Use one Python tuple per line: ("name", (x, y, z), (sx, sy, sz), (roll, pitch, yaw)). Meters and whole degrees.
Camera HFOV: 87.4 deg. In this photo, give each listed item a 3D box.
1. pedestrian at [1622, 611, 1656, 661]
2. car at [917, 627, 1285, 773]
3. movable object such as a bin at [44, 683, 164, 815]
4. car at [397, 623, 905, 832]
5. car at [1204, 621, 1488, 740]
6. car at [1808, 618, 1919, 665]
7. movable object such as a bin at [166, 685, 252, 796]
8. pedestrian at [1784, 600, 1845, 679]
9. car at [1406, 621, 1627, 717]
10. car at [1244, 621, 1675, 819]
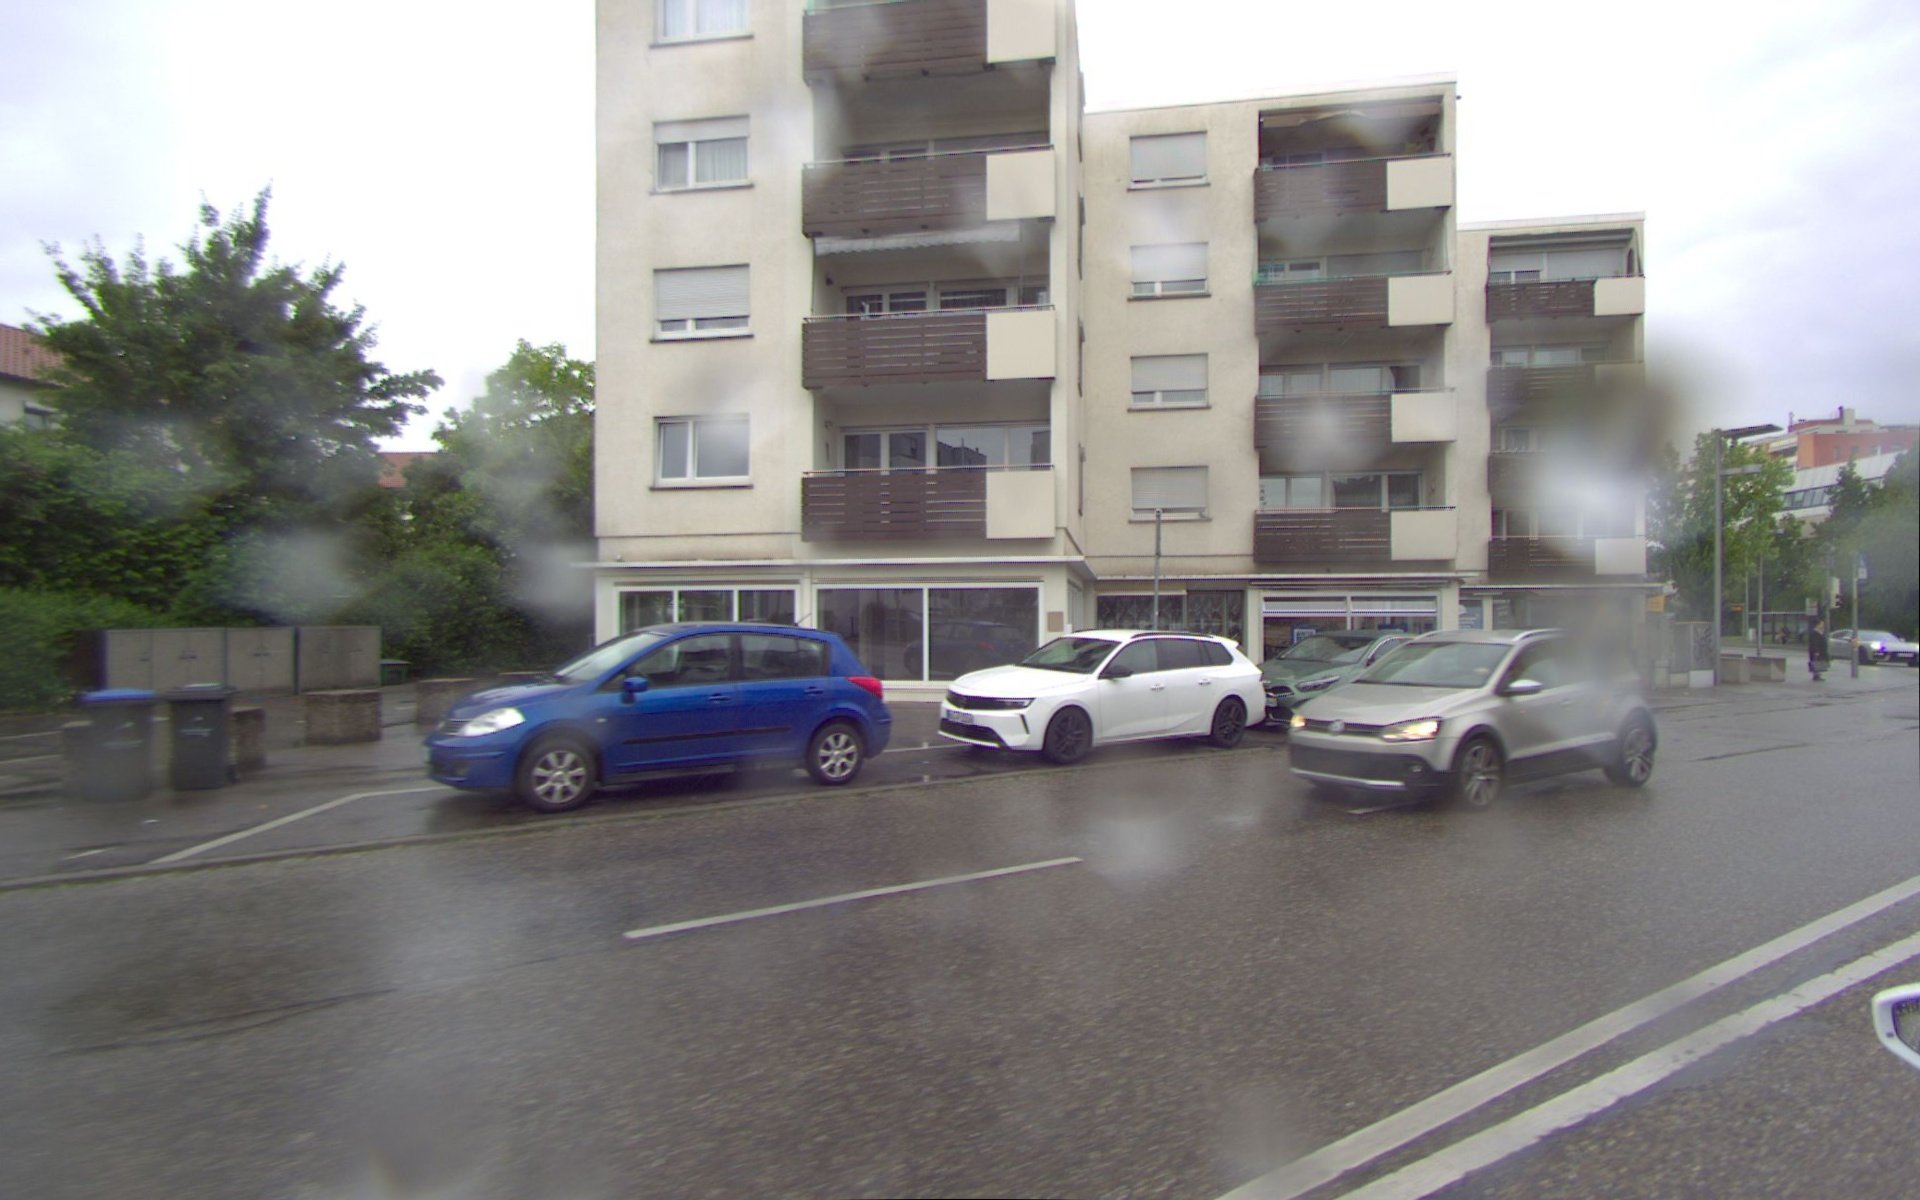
("pedestrian", (29.405, 1.558, 43.526), (1.008, 2.041, 0.963), (3, 3, 25))
("car", (1.868, 1.095, 12.488), (4.636, 1.483, 1.683), (1, -1, -35))
("movable object such as a bin", (-7.046, 1.200, 8.301), (0.675, 0.978, 0.644), (1, -1, -35))
("car", (-2.753, 0.996, 9.426), (4.281, 1.541, 1.641), (1, -1, -35))
("car", (6.005, 1.115, 15.457), (4.474, 1.562, 1.922), (1, -1, -35))
("car", (37.569, 1.656, 41.758), (1.960, 1.532, 4.433), (2, 3, 18))
("movable object such as a bin", (-6.825, 1.255, 9.154), (0.592, 0.915, 0.570), (1, -1, -35))
("pedestrian", (22.942, 1.043, 26.975), (0.905, 2.041, 0.748), (2, 3, -14))
("car", (10.312, 1.172, 18.537), (4.229, 1.562, 1.922), (1, -1, -35))
("car", (4.739, 0.982, 9.468), (3.795, 1.458, 1.817), (0, -2, -30))
